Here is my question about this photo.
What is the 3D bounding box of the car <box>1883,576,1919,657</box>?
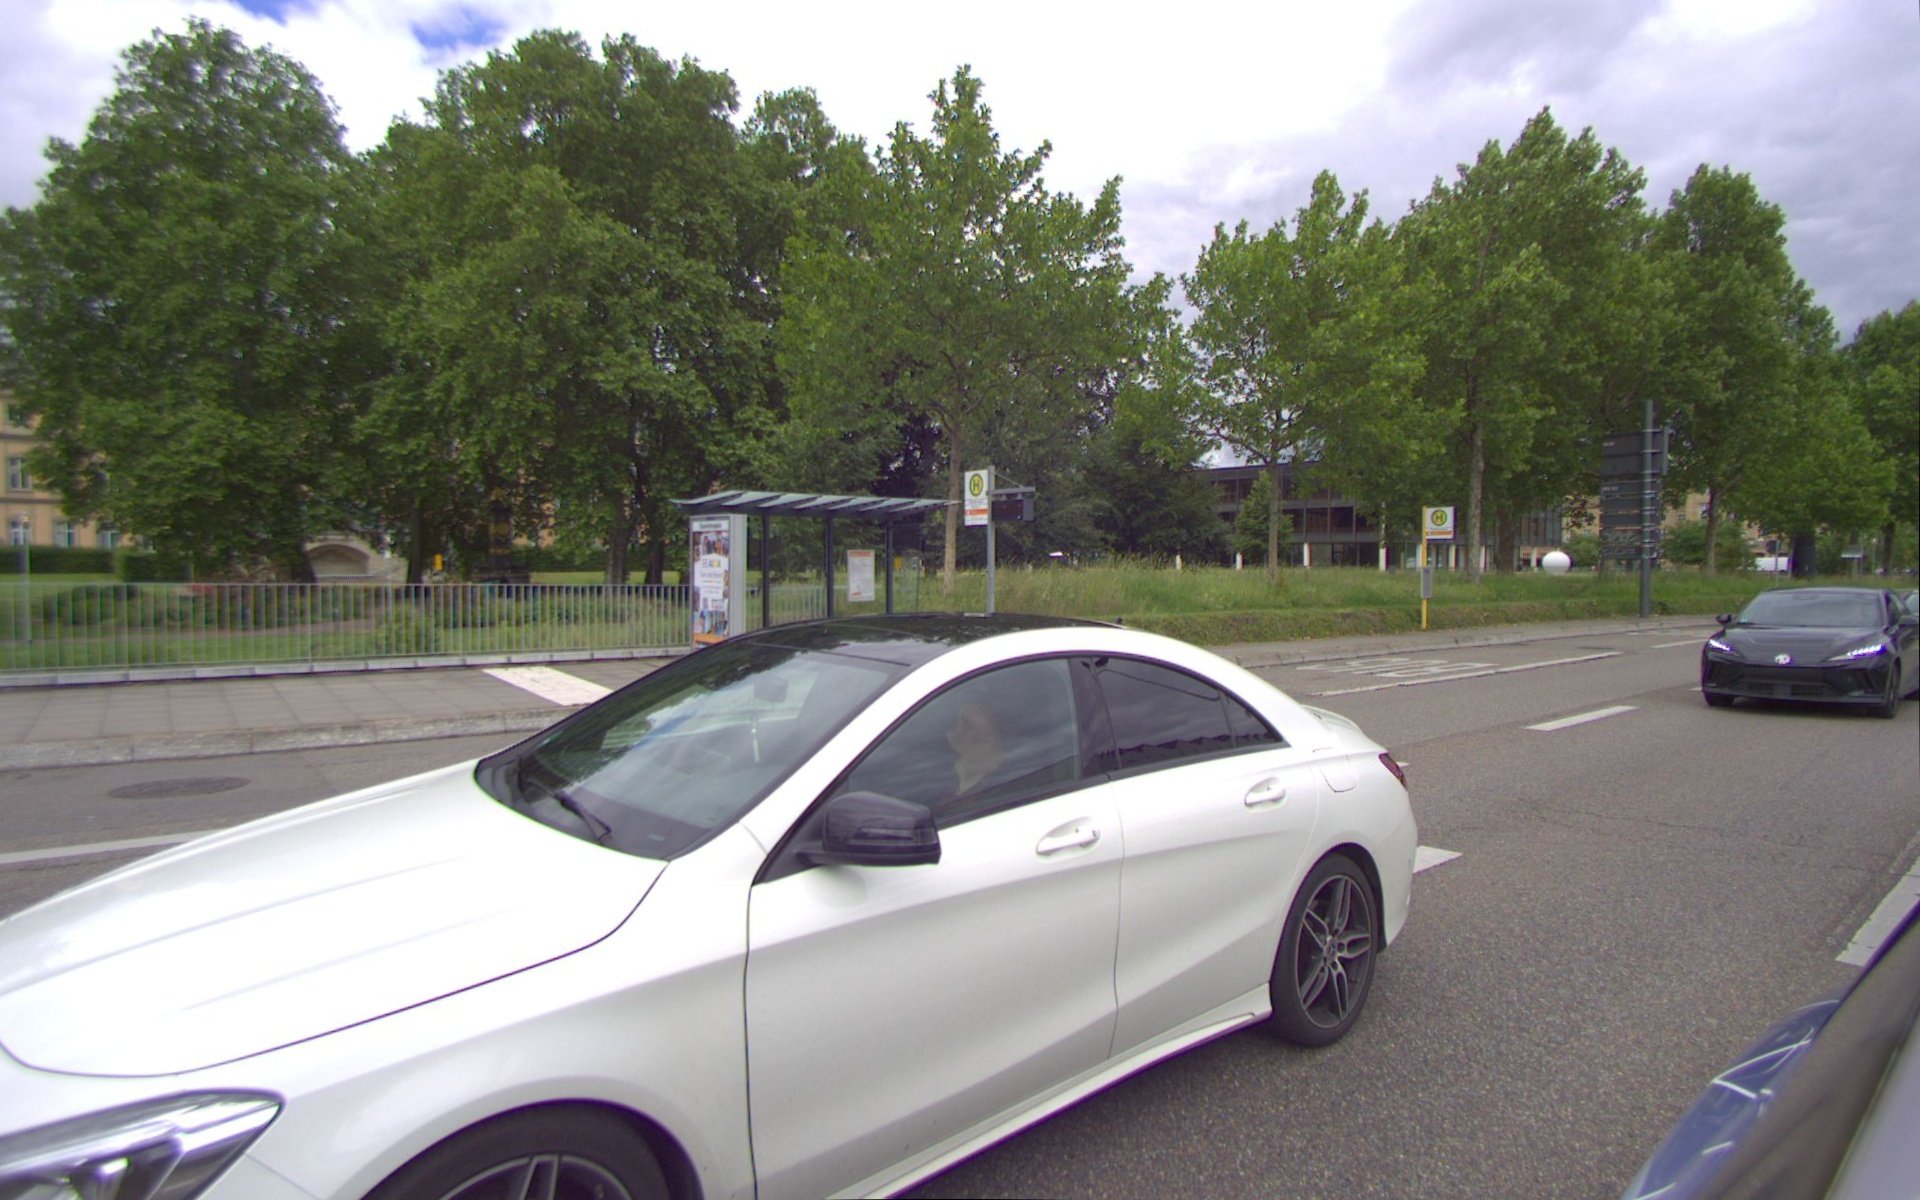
[{"bbox_3d":[19.308,0.277,19.446,3.944,1.452,1.804,-1,2,-40],"label":"car"}]

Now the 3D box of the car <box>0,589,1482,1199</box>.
[{"bbox_3d":[-0.260,0.724,3.210,4.446,1.437,1.799,-1,2,-39],"label":"car"}]

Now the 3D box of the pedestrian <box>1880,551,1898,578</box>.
[{"bbox_3d":[72.411,-2.757,78.875,1.160,2.039,0.891,-2,0,-40],"label":"pedestrian"}]

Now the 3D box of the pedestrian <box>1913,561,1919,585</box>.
[{"bbox_3d":[83.090,-2.330,87.496,1.160,2.039,0.891,-2,0,-40],"label":"pedestrian"}]

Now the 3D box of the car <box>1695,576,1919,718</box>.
[{"bbox_3d":[11.075,0.459,12.900,4.020,1.508,1.852,-1,2,-40],"label":"car"}]
